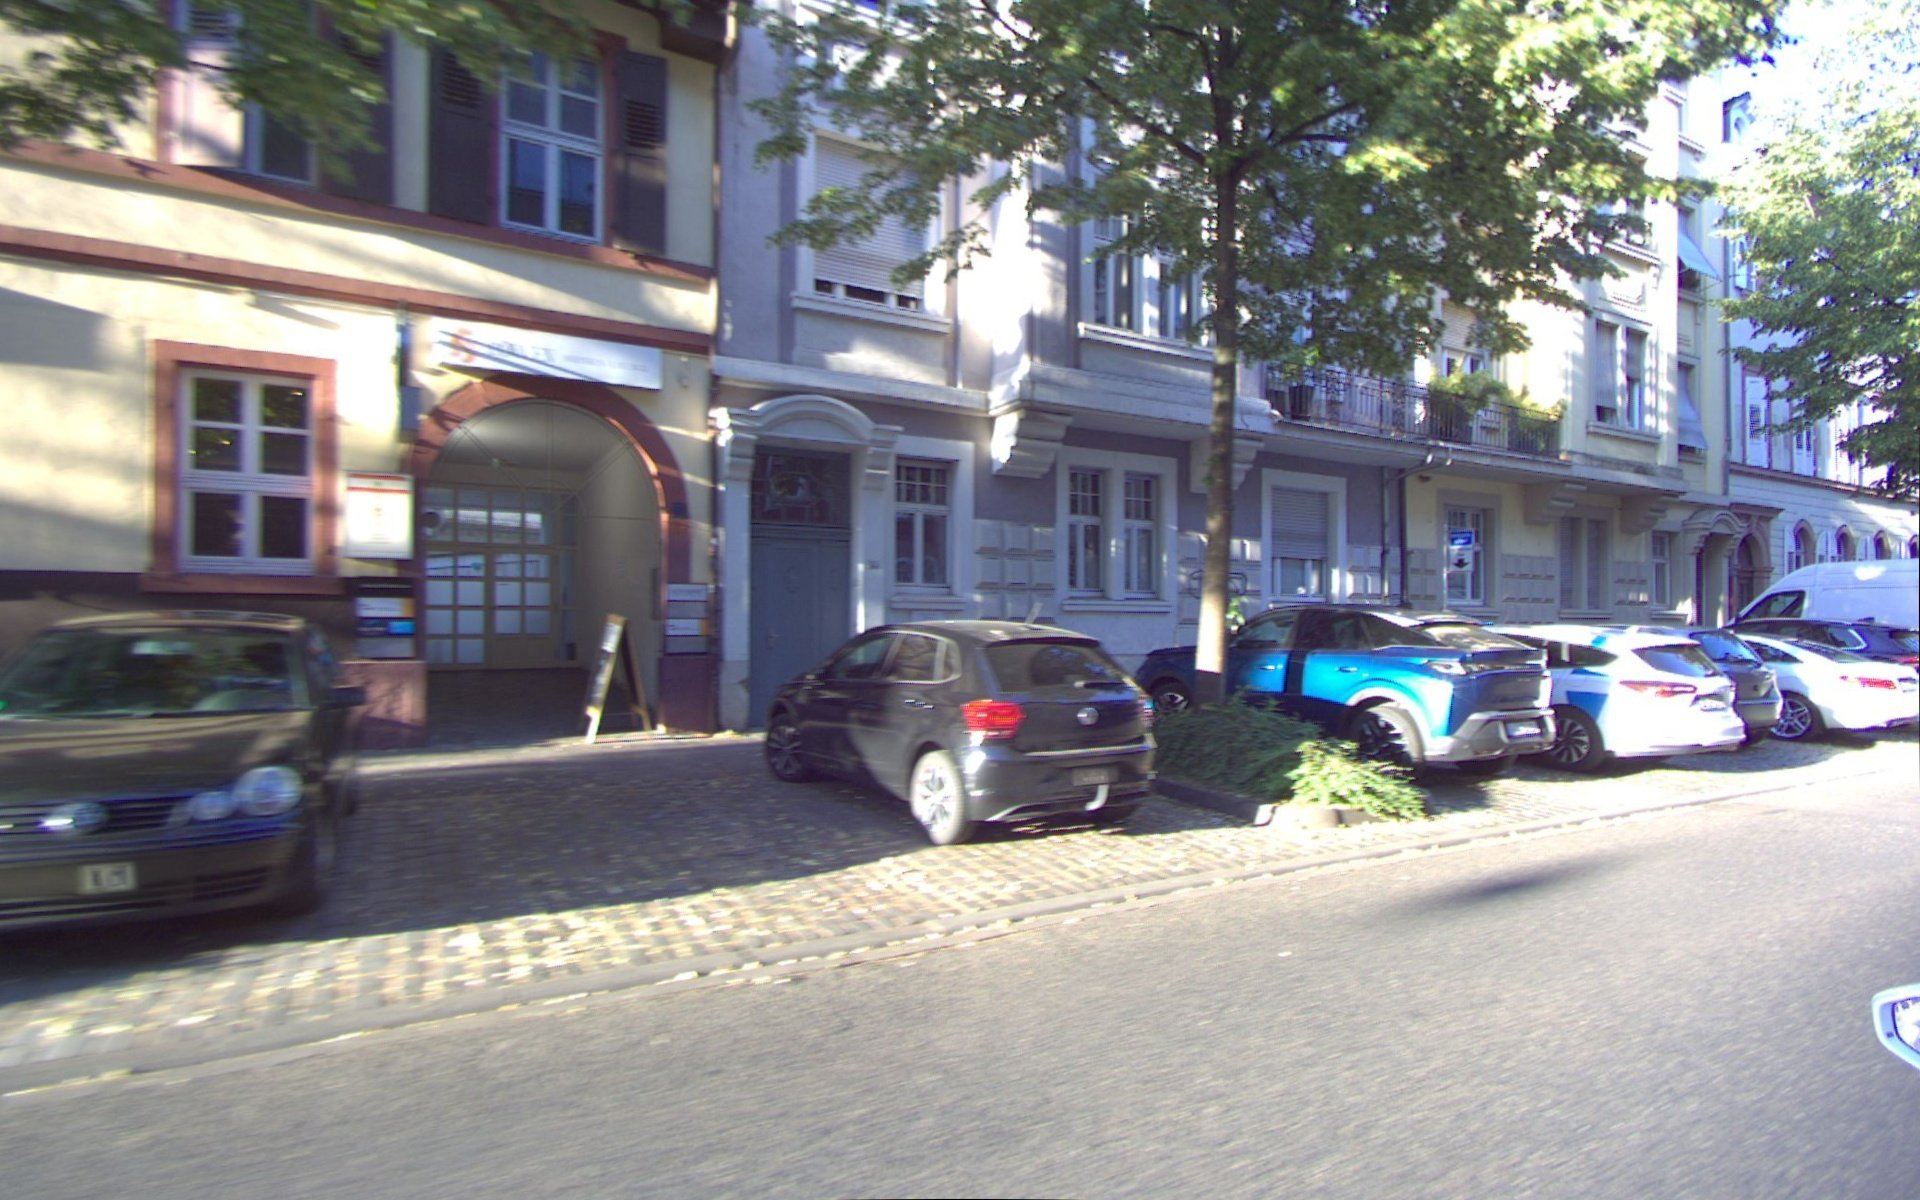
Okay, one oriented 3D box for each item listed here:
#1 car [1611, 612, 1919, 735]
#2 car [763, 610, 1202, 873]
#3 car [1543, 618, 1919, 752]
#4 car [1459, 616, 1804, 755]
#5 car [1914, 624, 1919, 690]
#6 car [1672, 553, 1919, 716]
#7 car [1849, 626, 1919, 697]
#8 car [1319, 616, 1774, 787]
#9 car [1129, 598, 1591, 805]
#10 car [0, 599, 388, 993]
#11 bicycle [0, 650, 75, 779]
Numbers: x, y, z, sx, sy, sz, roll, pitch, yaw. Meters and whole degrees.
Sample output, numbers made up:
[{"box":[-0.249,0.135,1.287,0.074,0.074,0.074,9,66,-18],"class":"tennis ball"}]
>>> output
[{"box":[13.158,1.052,16.062,1.951,1.621,4.195,1,0,-28],"class":"car"},{"box":[-0.081,0.873,8.109,1.678,1.468,3.893,1,1,-32],"class":"car"},{"box":[11.022,1.075,14.490,1.772,1.526,4.193,1,0,-30],"class":"car"},{"box":[8.819,1.017,13.478,1.822,1.530,3.396,1,0,-26],"class":"car"},{"box":[23.119,1.300,21.700,1.695,1.486,3.349,1,0,-33],"class":"car"},{"box":[16.196,0.565,17.658,2.145,2.656,5.632,1,0,-29],"class":"car"},{"box":[20.789,1.306,20.241,1.730,1.422,3.967,2,-1,-31],"class":"car"},{"box":[6.531,0.993,11.689,1.947,1.502,4.165,1,0,-30],"class":"car"},{"box":[3.929,0.848,10.578,1.873,1.672,4.205,1,0,-33],"class":"car"},{"box":[-4.344,0.764,5.659,1.766,1.468,3.770,1,0,-27],"class":"car"},{"box":[-8.366,0.931,8.114,1.710,1.002,0.618,1,1,-26],"class":"bicycle"}]
